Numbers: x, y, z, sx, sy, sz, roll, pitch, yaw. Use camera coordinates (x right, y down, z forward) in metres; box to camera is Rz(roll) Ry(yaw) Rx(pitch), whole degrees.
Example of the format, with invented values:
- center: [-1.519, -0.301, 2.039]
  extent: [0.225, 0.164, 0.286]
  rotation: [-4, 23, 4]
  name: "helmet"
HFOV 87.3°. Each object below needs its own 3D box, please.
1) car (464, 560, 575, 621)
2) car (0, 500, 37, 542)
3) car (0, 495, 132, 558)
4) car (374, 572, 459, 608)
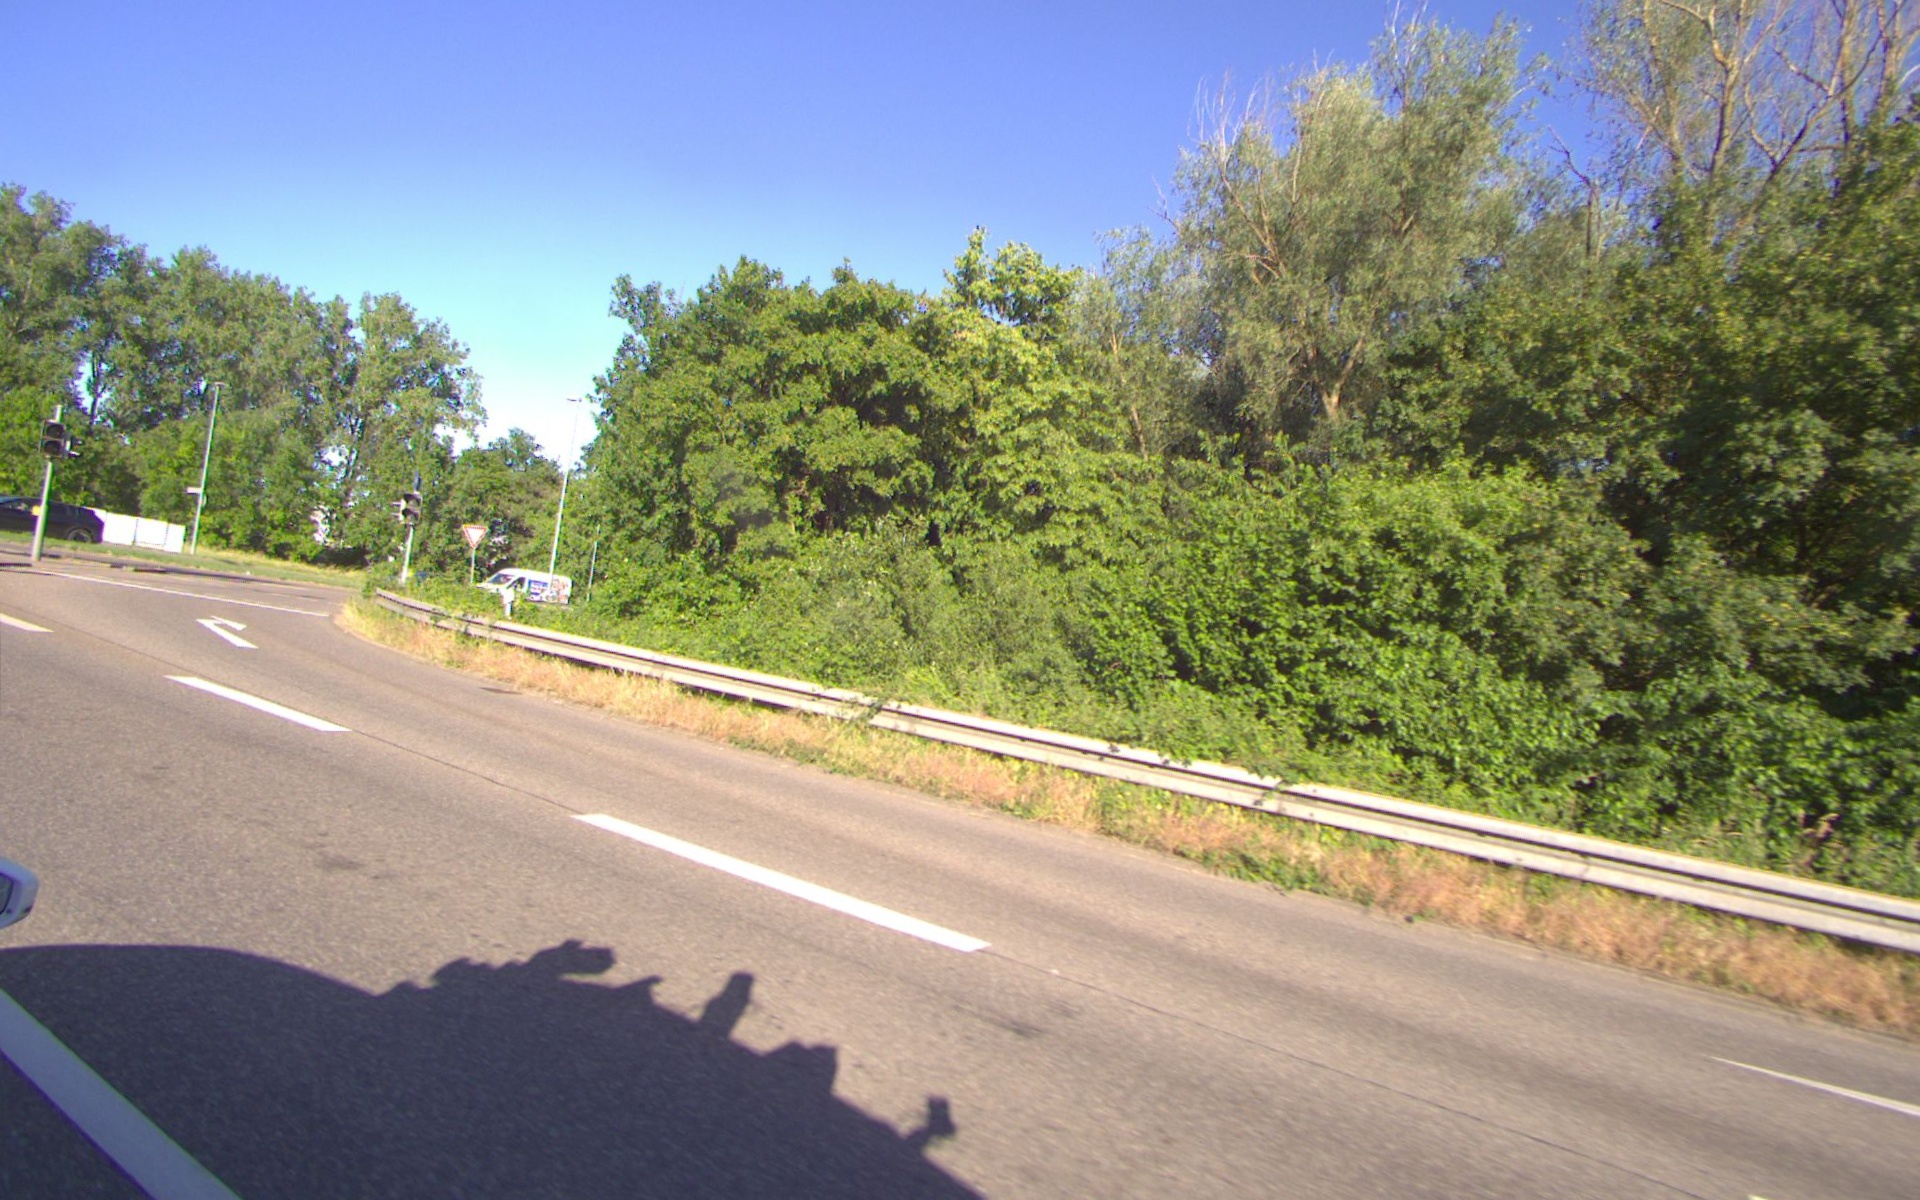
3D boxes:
- center: [-24.460, -0.468, 56.155]
  extent: [2.072, 2.433, 5.291]
  rotation: [7, -5, 27]
  name: "car"
- center: [-37.912, -3.330, 38.180]
  extent: [1.665, 1.417, 3.760]
  rotation: [9, -3, 29]
  name: "car"
- center: [-31.753, -2.643, 34.625]
  extent: [1.965, 1.480, 4.475]
  rotation: [8, -3, 27]
  name: "car"
- center: [-29.951, -0.529, 55.492]
  extent: [1.584, 1.402, 3.700]
  rotation: [6, -4, 33]
  name: "car"
